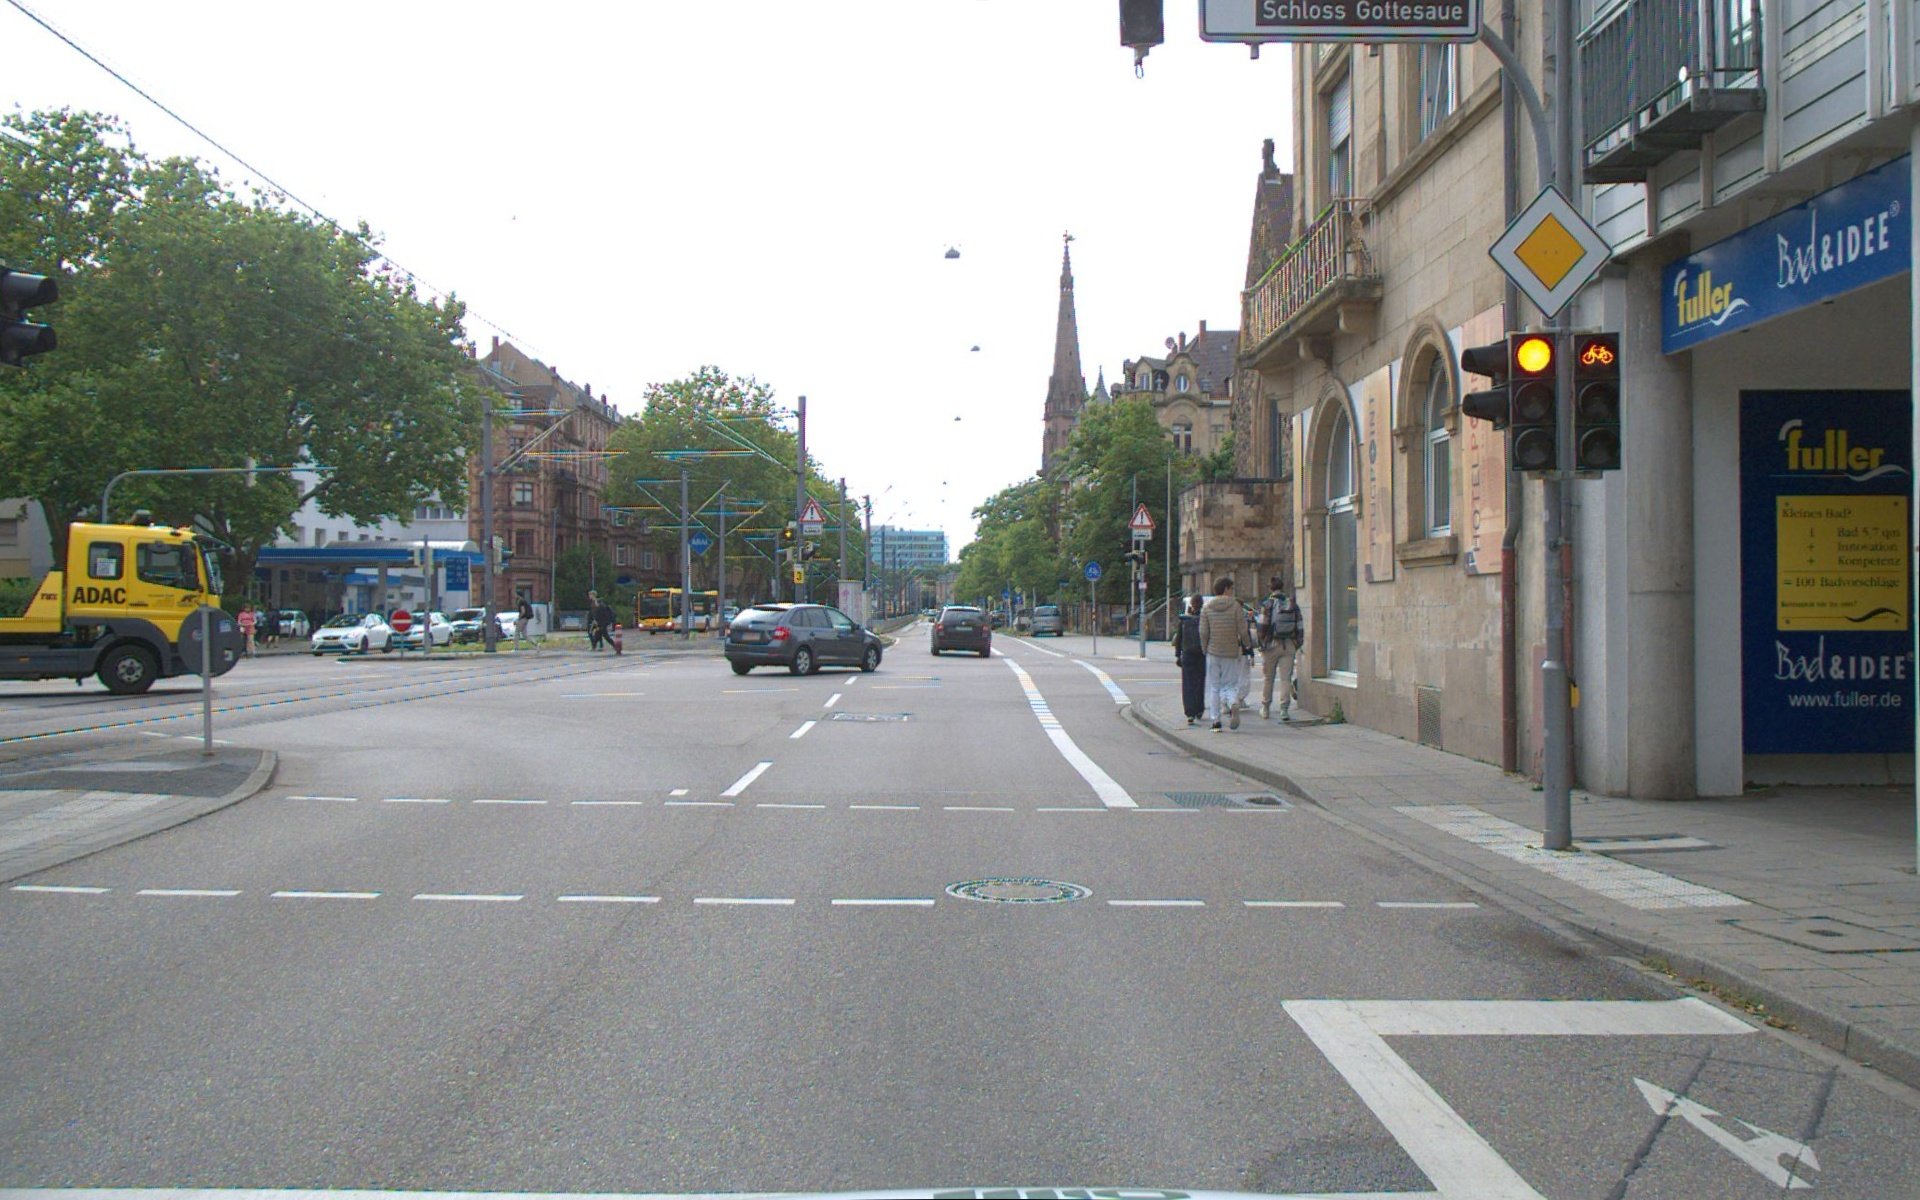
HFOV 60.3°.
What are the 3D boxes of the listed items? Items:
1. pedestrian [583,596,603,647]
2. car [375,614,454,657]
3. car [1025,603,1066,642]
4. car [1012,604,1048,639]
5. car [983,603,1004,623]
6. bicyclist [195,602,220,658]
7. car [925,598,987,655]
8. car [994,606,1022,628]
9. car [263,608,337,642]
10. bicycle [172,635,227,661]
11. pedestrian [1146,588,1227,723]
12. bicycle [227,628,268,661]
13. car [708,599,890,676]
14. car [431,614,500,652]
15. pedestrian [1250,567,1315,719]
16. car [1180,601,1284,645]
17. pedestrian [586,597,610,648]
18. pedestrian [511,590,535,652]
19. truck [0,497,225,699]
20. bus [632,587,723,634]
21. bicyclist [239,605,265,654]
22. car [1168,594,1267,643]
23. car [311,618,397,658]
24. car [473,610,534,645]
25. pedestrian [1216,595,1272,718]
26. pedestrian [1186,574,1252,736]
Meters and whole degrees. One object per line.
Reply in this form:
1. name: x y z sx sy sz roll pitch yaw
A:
1. pedestrian: -11.539 0.673 52.025 0.535 1.564 0.465 1 -1 -5
2. car: -21.396 1.364 64.987 1.856 1.585 3.835 1 -1 -1
3. car: 4.632 1.208 90.104 1.953 2.049 3.999 1 -1 -1
4. car: 4.201 1.281 99.708 1.953 2.049 3.999 1 -1 -1
5. car: 3.503 1.340 172.454 1.953 2.049 3.999 1 -1 -1
6. bicyclist: -24.638 0.988 54.151 0.522 1.815 0.470 1 -1 19
7. car: -0.139 0.786 49.927 1.769 1.614 4.340 1 -1 -1
8. car: 3.734 1.292 128.514 1.953 1.635 4.163 -2 0 -1
9. car: -31.867 1.203 79.965 1.953 1.557 3.999 1 -1 -1
10. bicycle: -24.882 1.568 54.129 1.645 0.786 0.656 1 -1 20
11. pedestrian: 2.921 0.701 21.297 0.616 1.681 0.993 0 -1 36
12. bicycle: -23.531 1.467 54.633 0.511 1.035 1.936 1 -1 -1
13. car: -3.295 0.765 34.618 1.801 1.495 3.984 1 -1 30
14. car: -21.463 1.421 71.962 1.856 1.585 3.835 1 -1 -1
15. pedestrian: 4.018 0.529 20.667 0.613 1.809 1.135 -3 -1 6
16. car: 10.674 0.906 65.049 3.721 1.629 2.000 1 -1 -1
17. pedestrian: -11.249 0.700 51.456 0.640 1.564 0.465 1 -1 -5
18. pedestrian: -12.939 0.613 48.995 0.562 1.826 0.518 1 -1 -5
19. truck: -16.564 -0.054 24.642 10.042 2.992 2.610 1 0 -31
20. bus: -20.416 0.779 120.524 3.019 3.166 13.102 1 -1 6
21. bicyclist: -23.527 0.969 54.940 0.576 1.595 0.618 1 -1 -1
22. car: 10.627 0.773 68.460 3.721 1.937 2.000 1 -1 -1
23. car: -21.422 1.328 58.603 1.601 1.349 3.999 1 -1 -1
24. car: -21.716 1.304 78.792 1.856 1.585 3.835 1 -1 -1
25. pedestrian: 3.842 0.757 22.441 0.685 1.621 0.831 1 -1 7
26. pedestrian: 3.071 0.633 19.534 0.571 1.845 1.015 1 -1 19
